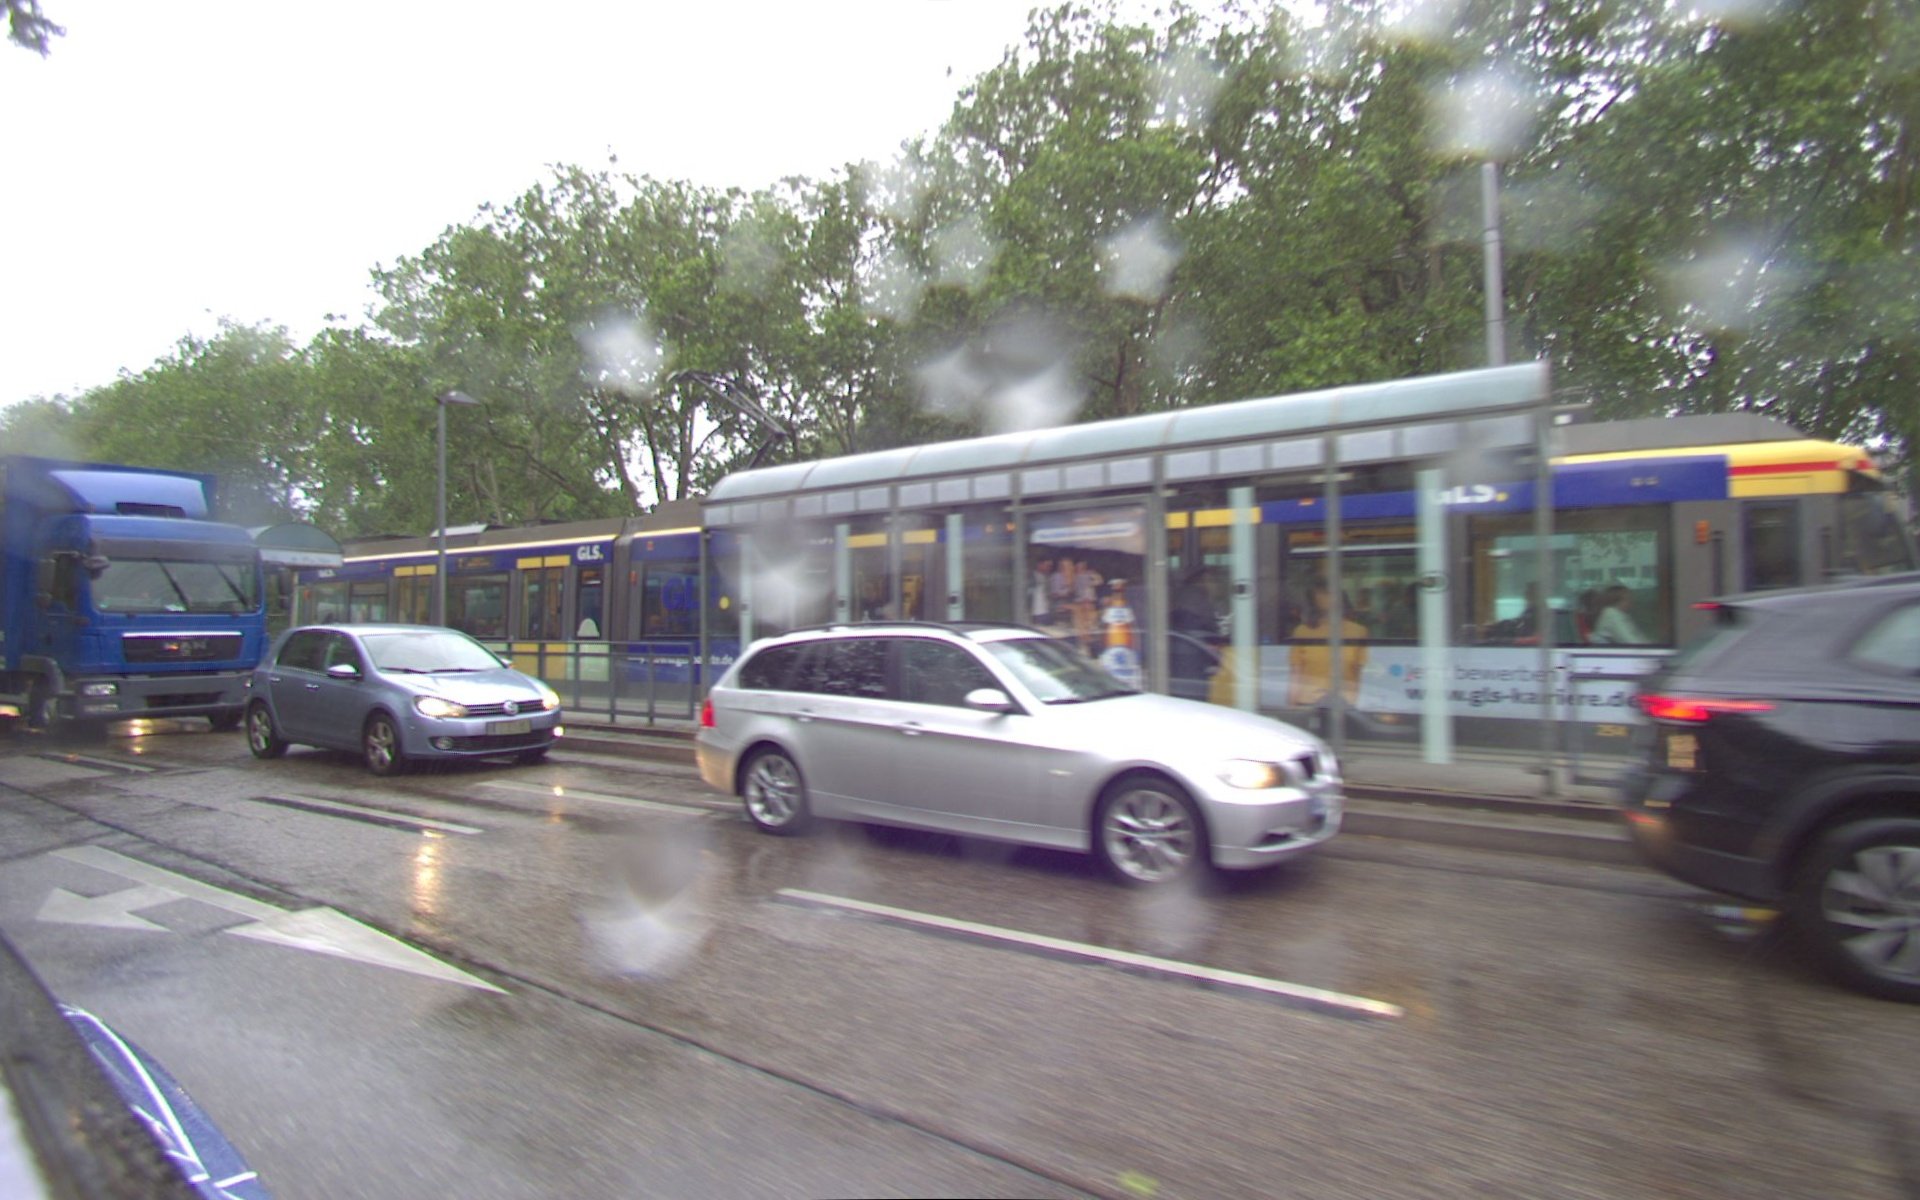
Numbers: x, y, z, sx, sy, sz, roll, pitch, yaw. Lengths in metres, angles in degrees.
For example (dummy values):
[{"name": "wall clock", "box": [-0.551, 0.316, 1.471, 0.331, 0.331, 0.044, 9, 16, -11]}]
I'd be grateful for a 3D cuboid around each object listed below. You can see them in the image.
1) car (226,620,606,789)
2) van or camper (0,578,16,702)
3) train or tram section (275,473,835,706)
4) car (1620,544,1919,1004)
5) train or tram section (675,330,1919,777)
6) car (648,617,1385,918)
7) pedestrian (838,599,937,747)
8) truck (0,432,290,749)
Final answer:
[{"name": "car", "box": [-5.931, 0.987, 10.935, 4.064, 1.498, 1.875, -1, -1, 32]}, {"name": "van or camper", "box": [-23.108, 0.915, 22.244, 6.413, 2.590, 1.978, -1, 0, 33]}, {"name": "train or tram section", "box": [-8.892, -0.065, 20.616, 13.621, 3.539, 3.485, -1, 0, 34]}, {"name": "car", "box": [5.063, 0.617, 3.728, 4.306, 1.633, 1.978, -1, -2, 32]}, {"name": "train or tram section", "box": [3.170, -0.271, 12.574, 15.455, 3.438, 3.513, -1, 0, 33]}, {"name": "car", "box": [0.242, 0.856, 6.825, 4.591, 1.405, 1.978, -1, -2, 32]}, {"name": "pedestrian", "box": [-0.729, 0.713, 10.259, 0.748, 1.429, 0.628, -1, 0, 32]}, {"name": "truck", "box": [-14.526, 0.008, 16.158, 9.779, 3.919, 2.519, -1, -3, 32]}]
